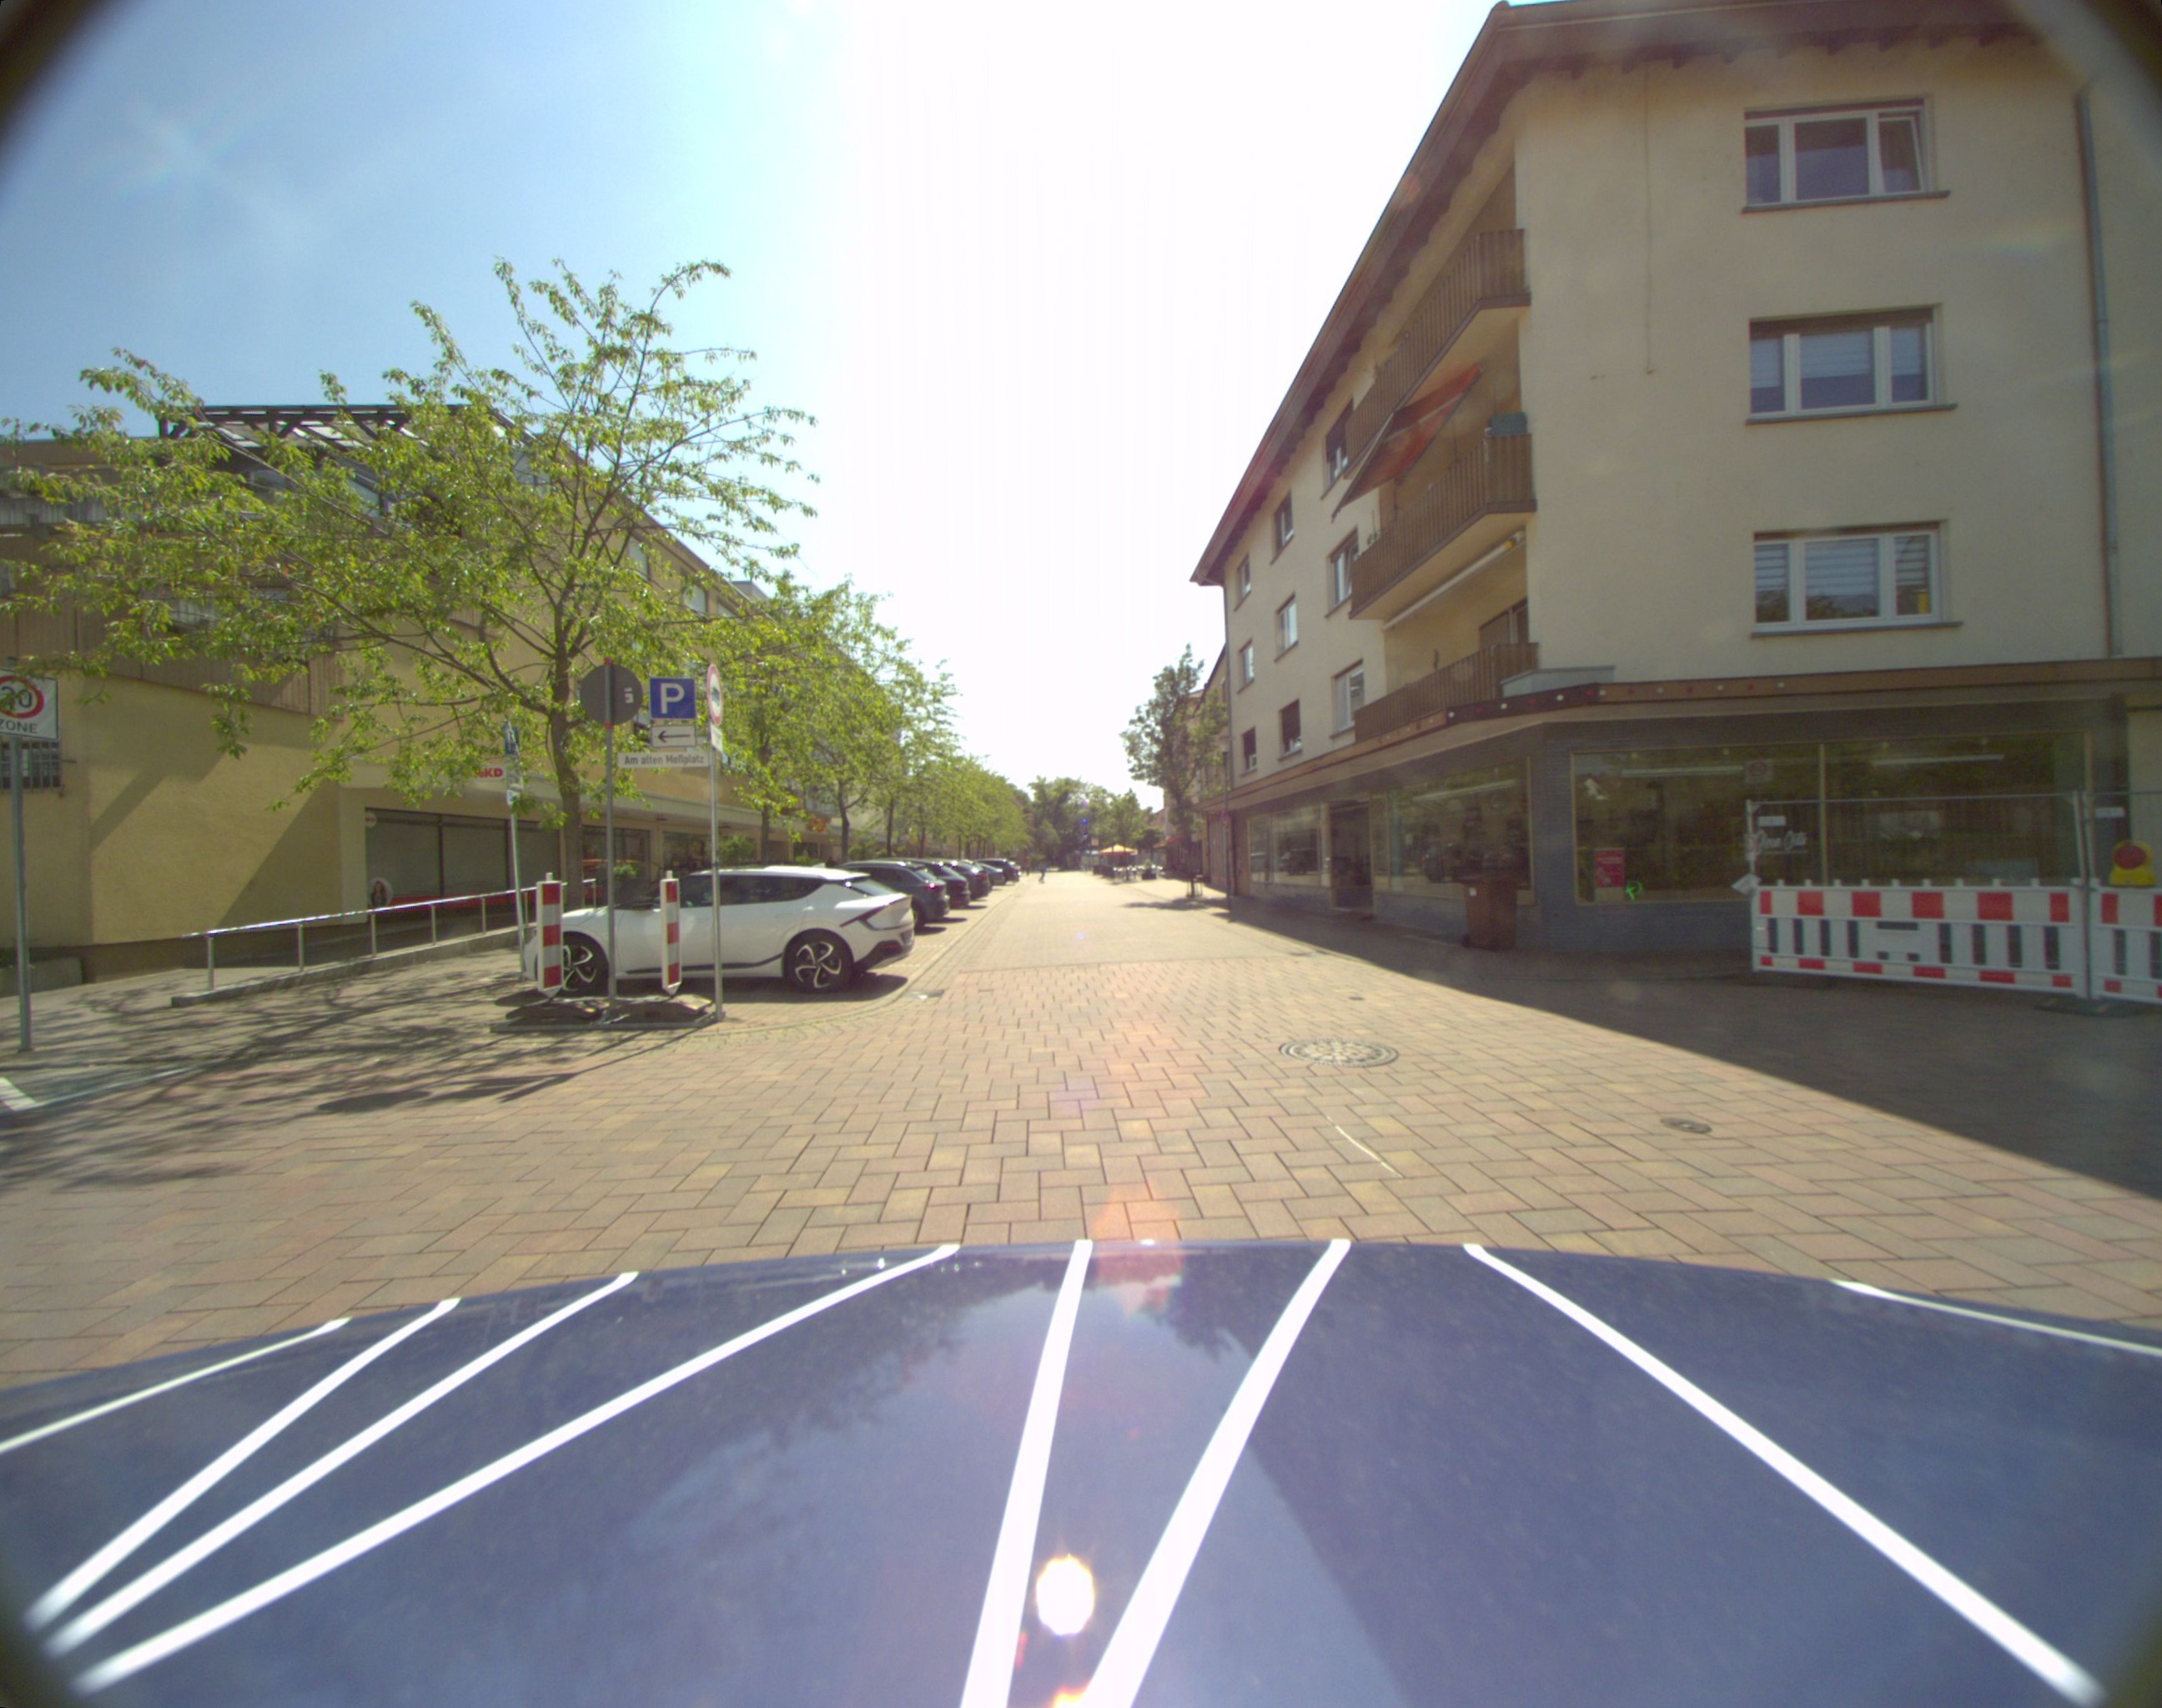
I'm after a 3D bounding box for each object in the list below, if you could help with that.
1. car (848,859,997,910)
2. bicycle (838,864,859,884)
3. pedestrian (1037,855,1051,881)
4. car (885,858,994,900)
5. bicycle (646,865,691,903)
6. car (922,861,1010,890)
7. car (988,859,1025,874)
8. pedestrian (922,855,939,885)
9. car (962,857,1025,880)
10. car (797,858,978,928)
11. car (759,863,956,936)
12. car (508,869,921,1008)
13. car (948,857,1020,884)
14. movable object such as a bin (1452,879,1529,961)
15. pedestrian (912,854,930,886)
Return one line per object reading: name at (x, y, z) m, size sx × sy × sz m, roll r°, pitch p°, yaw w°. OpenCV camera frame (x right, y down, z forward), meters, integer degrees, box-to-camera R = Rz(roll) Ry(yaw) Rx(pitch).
car at (-5.157, 0.986, 25.142) m, size 4.519 × 1.579 × 1.850 m, roll 0°, pitch 0°, yaw 0°
bicycle at (-13.852, 1.196, 45.295) m, size 0.643 × 1.075 × 1.866 m, roll -3°, pitch 1°, yaw -2°
pedestrian at (-2.484, 0.939, 51.363) m, size 0.759 × 1.770 × 0.870 m, roll -2°, pitch 1°, yaw 5°
car at (-5.521, 0.955, 29.998) m, size 4.038 × 1.602 × 1.680 m, roll 0°, pitch 1°, yaw -3°
bicycle at (-13.157, 0.933, 24.303) m, size 0.413 × 1.117 × 1.774 m, roll -3°, pitch 1°, yaw 0°
car at (-6.196, 1.114, 40.967) m, size 4.391 × 1.455 × 1.887 m, roll 0°, pitch 0°, yaw -21°
car at (-6.955, 1.178, 71.027) m, size 3.402 × 1.382 × 1.460 m, roll 0°, pitch 0°, yaw -2°
pedestrian at (-8.826, 0.954, 44.450) m, size 0.614 × 1.721 × 0.649 m, roll -2°, pitch 1°, yaw 32°
car at (-6.698, 1.130, 58.407) m, size 4.587 × 1.534 × 1.806 m, roll -2°, pitch 0°, yaw -2°
car at (-4.962, 0.977, 20.041) m, size 4.291 × 1.671 × 2.000 m, roll -1°, pitch 0°, yaw -4°
car at (-4.932, 0.980, 17.214) m, size 3.955 × 1.525 × 1.823 m, roll 0°, pitch 0°, yaw -3°
car at (-4.466, 1.003, 9.814) m, size 4.452 × 1.566 × 1.788 m, roll 0°, pitch 0°, yaw -2°
car at (-5.955, 0.998, 46.986) m, size 4.255 × 1.608 × 1.756 m, roll 0°, pitch 0°, yaw -3°
movable object such as a bin at (5.752, 0.911, 10.697) m, size 0.657 × 1.064 × 0.663 m, roll -3°, pitch 1°, yaw -9°
pedestrian at (-9.064, 0.913, 43.026) m, size 0.633 × 1.763 × 0.685 m, roll -3°, pitch 1°, yaw -40°
